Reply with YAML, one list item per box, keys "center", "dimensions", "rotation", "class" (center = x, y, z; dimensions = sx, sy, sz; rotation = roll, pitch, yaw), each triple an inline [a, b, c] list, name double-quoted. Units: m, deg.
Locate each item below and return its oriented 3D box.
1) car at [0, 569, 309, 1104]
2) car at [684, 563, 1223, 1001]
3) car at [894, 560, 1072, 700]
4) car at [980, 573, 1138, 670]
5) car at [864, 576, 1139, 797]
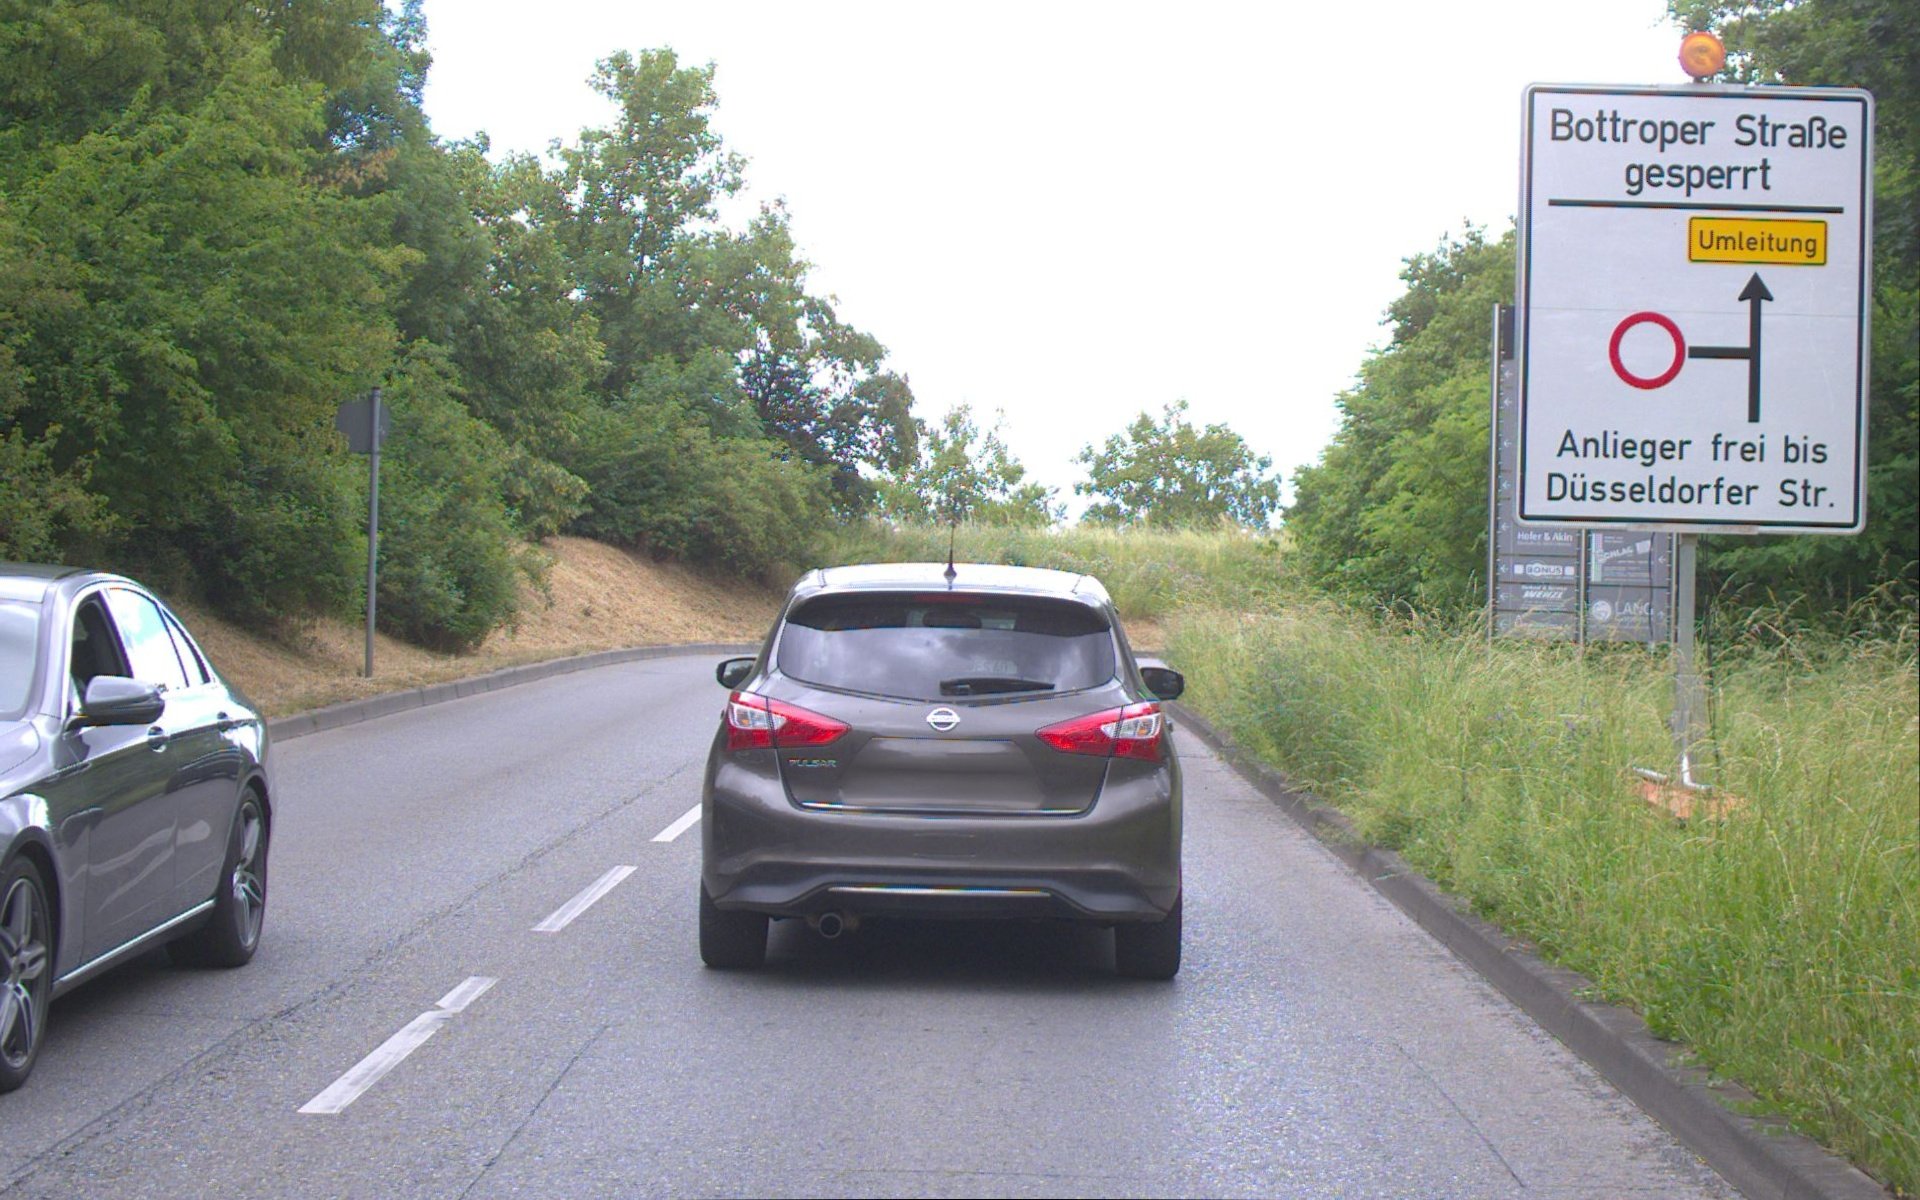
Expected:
- center: [-3.435, 0.614, 10.851]
  dimensions: [1.831, 1.401, 4.432]
  rotation: [1, 1, 1]
  class: "car"
- center: [-0.092, 0.609, 13.866]
  dimensions: [1.844, 1.488, 4.000]
  rotation: [1, 1, -2]
  class: "car"
- center: [0.304, 0.307, 39.099]
  dimensions: [1.721, 1.489, 3.576]
  rotation: [1, 1, 5]
  class: "car"
- center: [1.542, 0.295, 52.208]
  dimensions: [1.798, 1.393, 3.998]
  rotation: [1, 1, 10]
  class: "car"
- center: [0.229, 0.581, 25.866]
  dimensions: [1.844, 1.488, 4.228]
  rotation: [0, 1, -2]
  class: "car"
